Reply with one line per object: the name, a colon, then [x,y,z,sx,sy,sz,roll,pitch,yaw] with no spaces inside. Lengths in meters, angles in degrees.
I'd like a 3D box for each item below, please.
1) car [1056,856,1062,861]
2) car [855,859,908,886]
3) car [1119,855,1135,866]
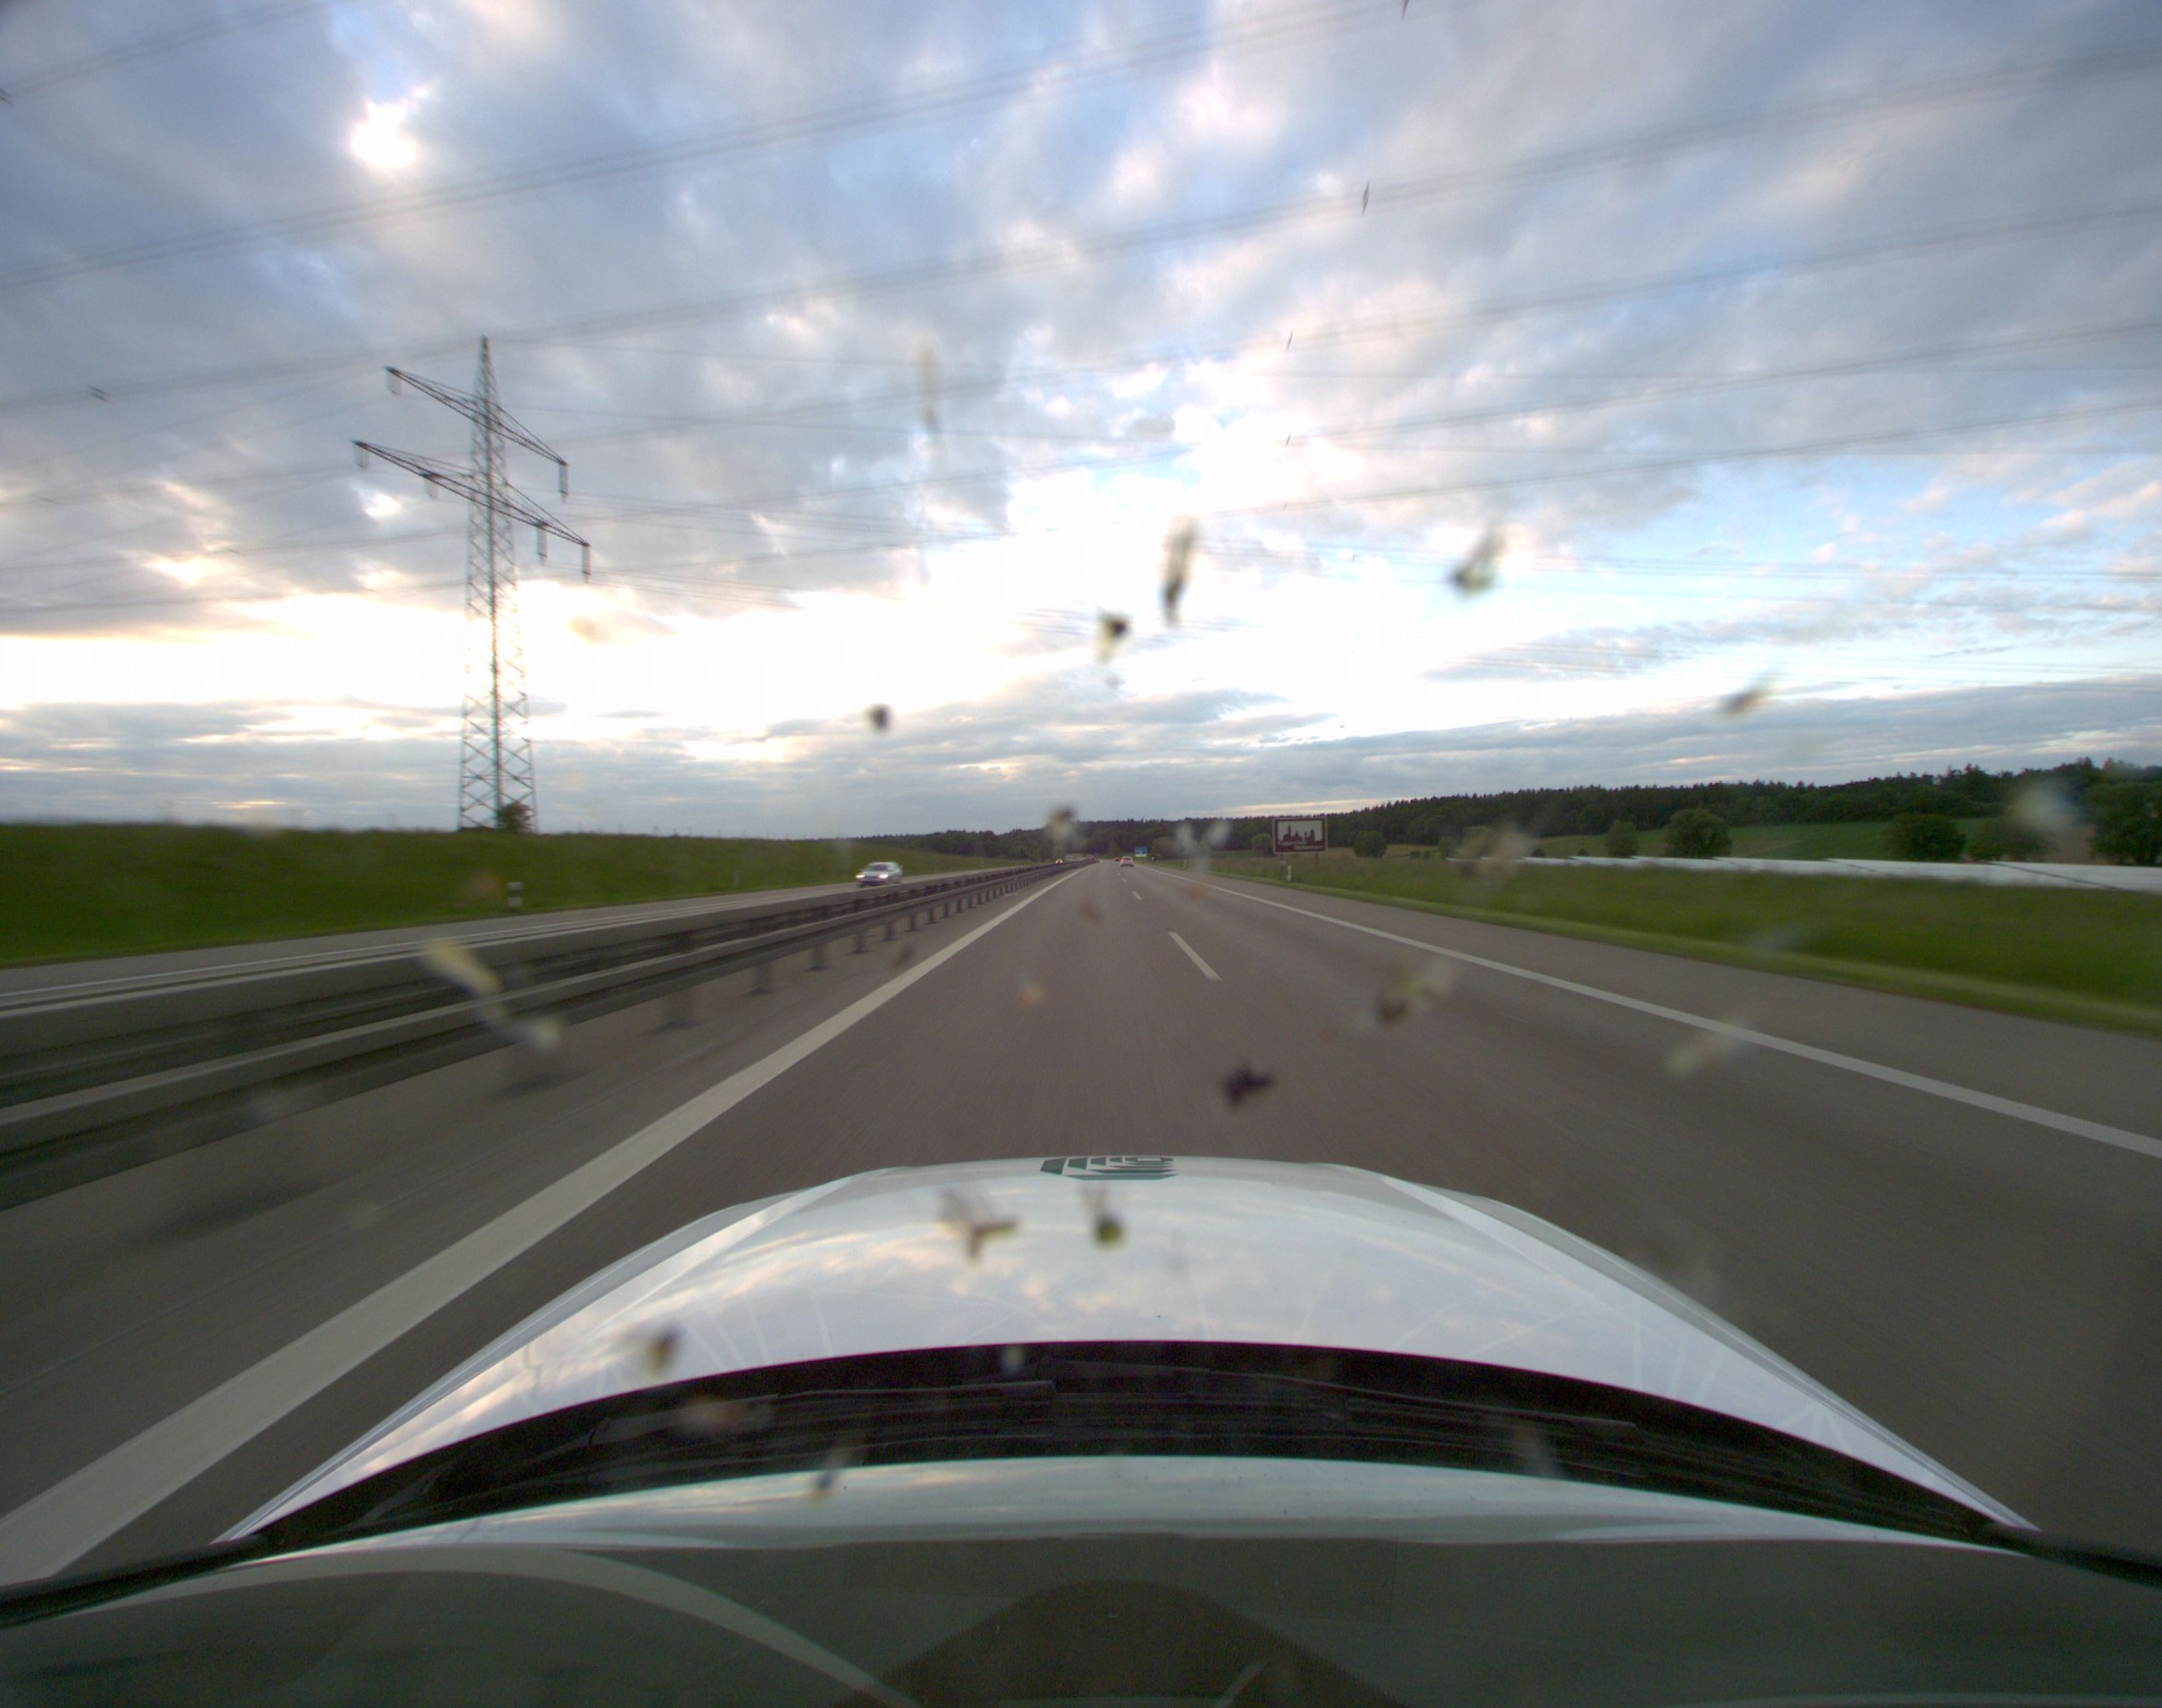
car: [-6.374,1.322,233.132,1.522,1.433,4.436,0,0,2]
car: [-12.266,1.097,50.412,1.758,1.482,5.337,0,0,2]
car: [6.485,0.946,114.984,1.945,1.531,4.080,0,0,0]
